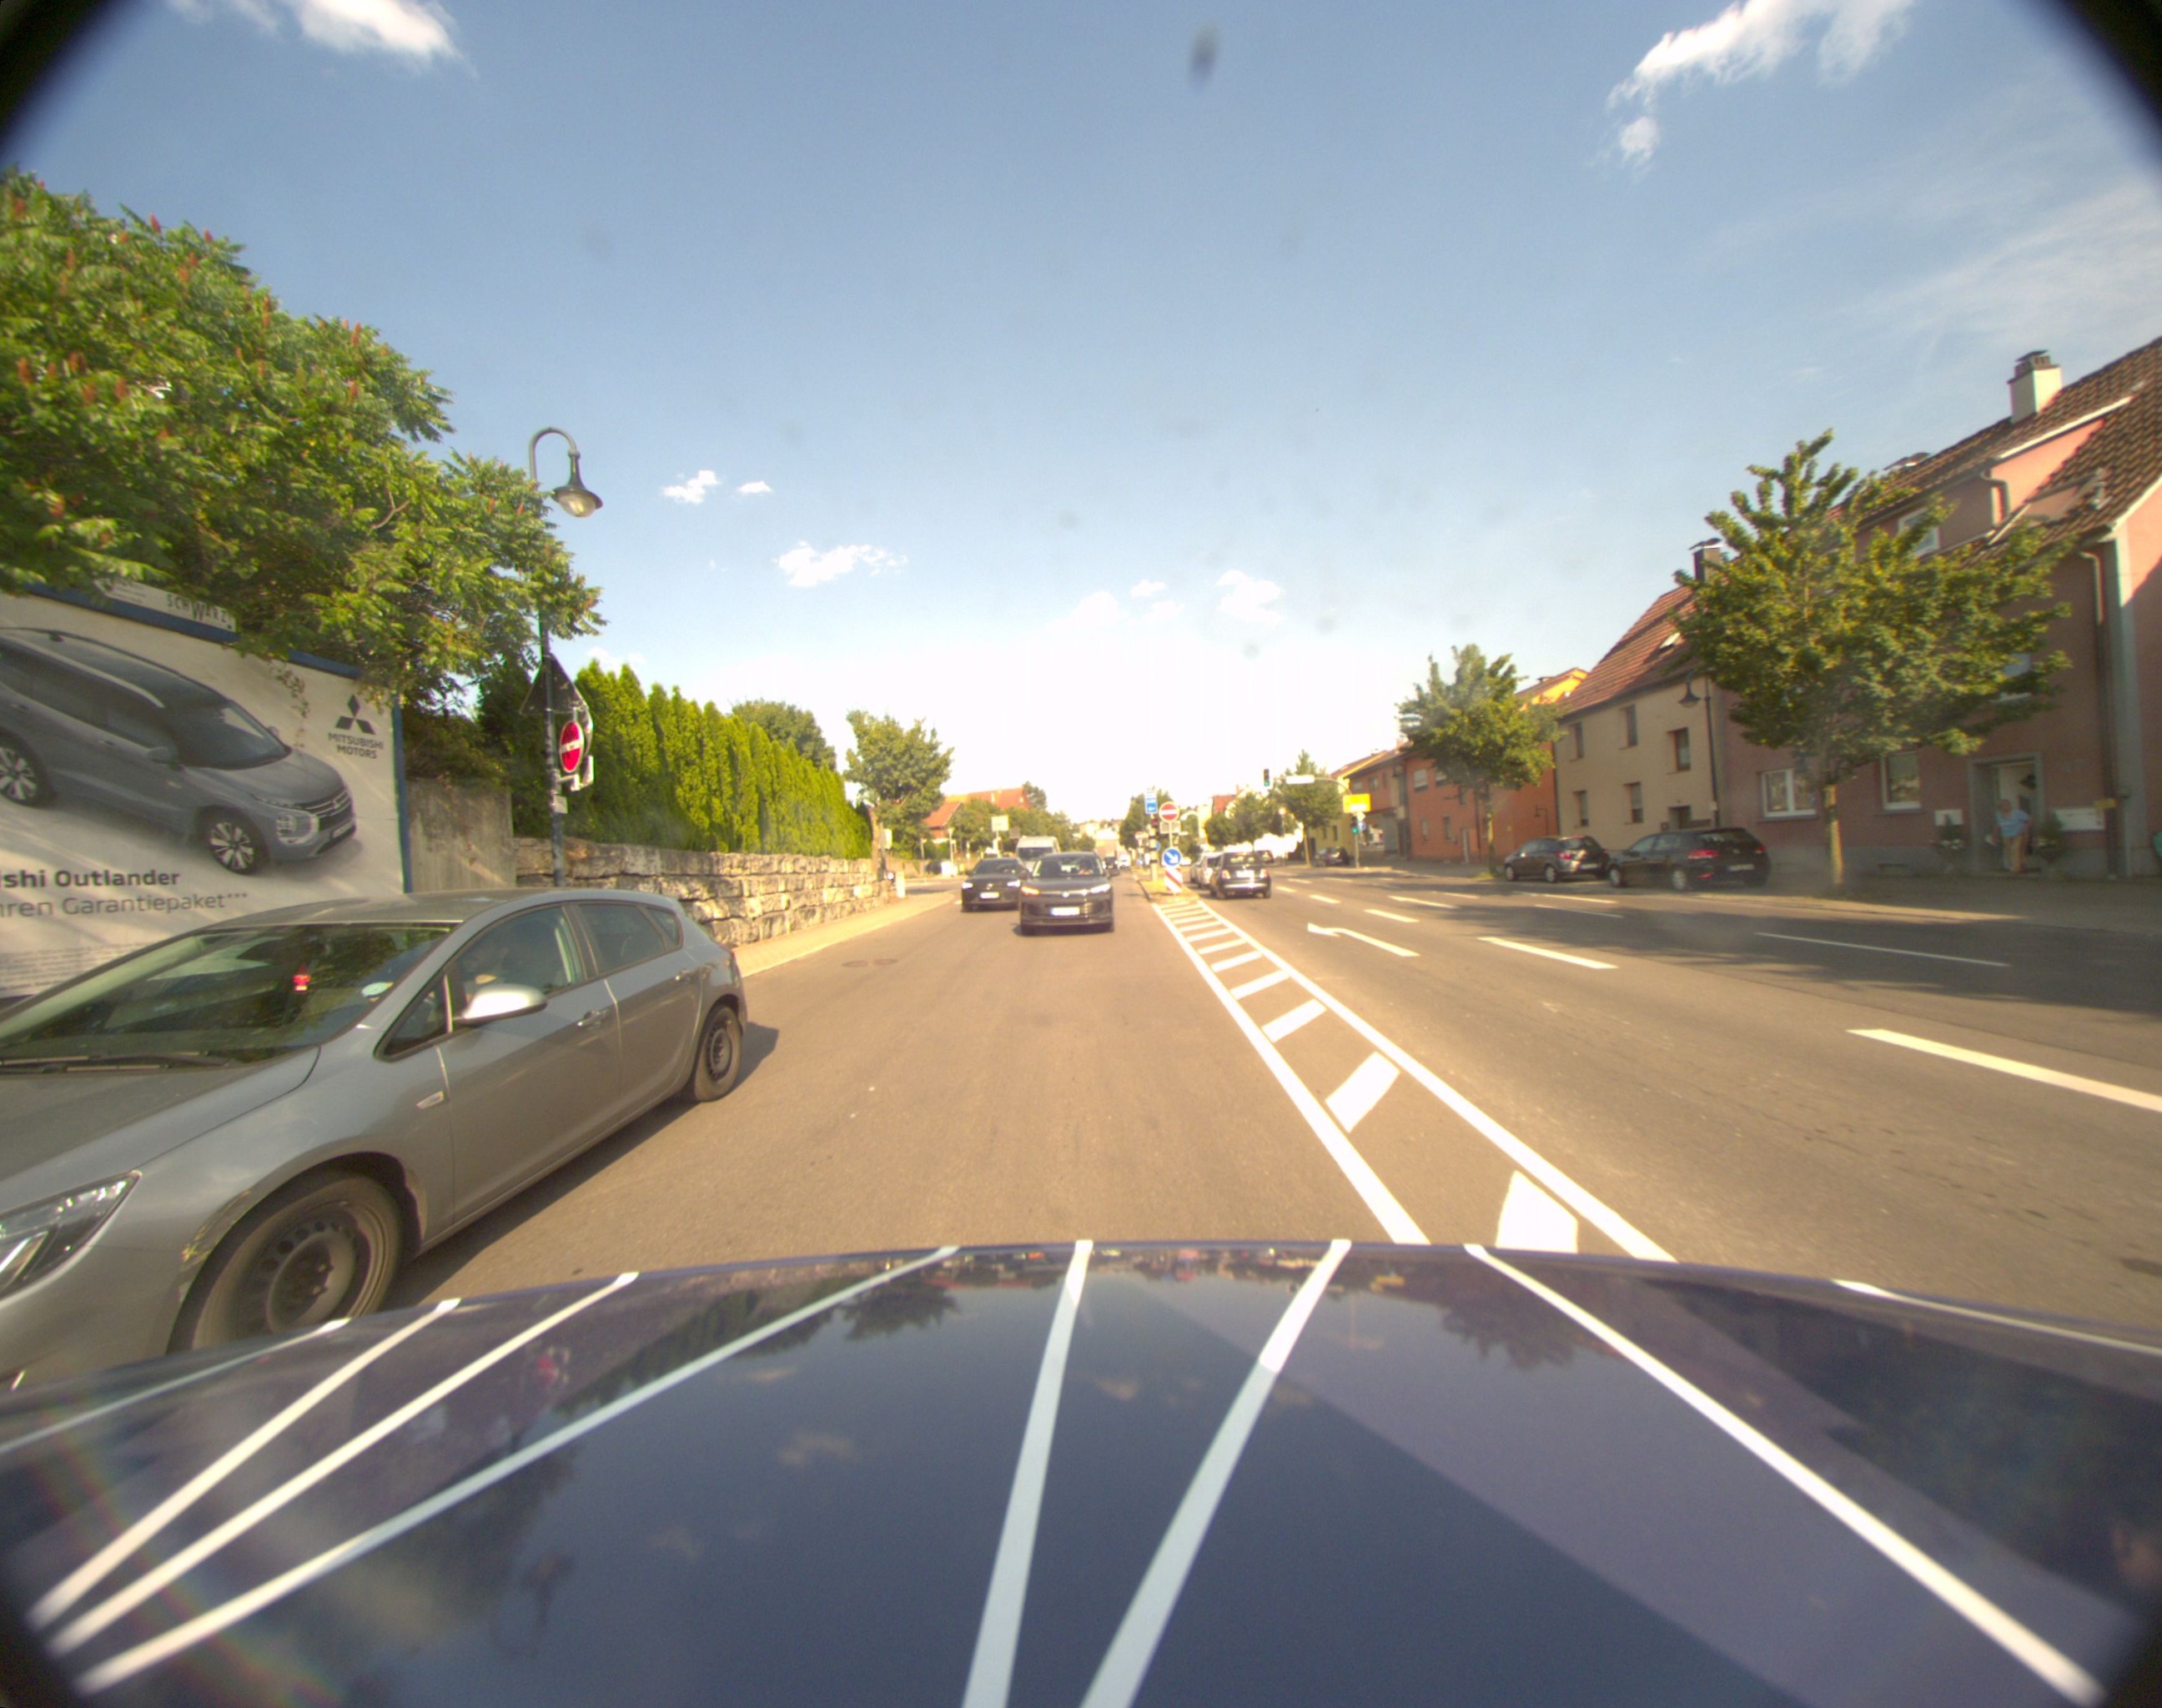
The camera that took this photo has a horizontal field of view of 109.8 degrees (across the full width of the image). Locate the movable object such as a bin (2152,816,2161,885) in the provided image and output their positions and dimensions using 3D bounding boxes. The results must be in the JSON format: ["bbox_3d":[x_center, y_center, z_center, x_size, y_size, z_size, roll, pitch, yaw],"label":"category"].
[{"bbox_3d":[18.076,-0.066,12.337,0.552,1.136,0.530,-3,0,6],"label":"movable object such as a bin"}]

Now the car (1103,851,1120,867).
[{"bbox_3d":[3.757,0.585,91.989,1.816,1.860,4.002,-3,0,5],"label":"car"}]

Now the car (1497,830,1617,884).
[{"bbox_3d":[15.380,0.096,24.809,1.515,1.501,3.886,-5,0,2],"label":"car"}]

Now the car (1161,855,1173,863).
[{"bbox_3d":[15.526,0.928,137.634,1.761,1.403,4.001,-3,0,3],"label":"car"}]

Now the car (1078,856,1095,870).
[{"bbox_3d":[0.616,0.921,79.850,1.515,1.353,2.956,-3,0,3],"label":"car"}]

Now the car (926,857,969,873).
[{"bbox_3d":[-14.238,1.138,80.976,4.072,1.447,1.681,-3,0,16],"label":"car"}]

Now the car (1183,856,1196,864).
[{"bbox_3d":[19.210,1.052,134.835,1.761,1.403,4.001,-3,0,3],"label":"car"}]

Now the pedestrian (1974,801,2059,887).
[{"bbox_3d":[18.147,-0.185,14.749,0.723,1.598,0.777,-3,1,-13],"label":"pedestrian"}]

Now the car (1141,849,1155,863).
[{"bbox_3d":[12.624,0.378,144.207,2.090,2.461,5.479,-3,0,1],"label":"car"}]

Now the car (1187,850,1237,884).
[{"bbox_3d":[6.289,0.620,36.959,1.839,1.479,4.567,-3,0,3],"label":"car"}]

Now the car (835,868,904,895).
[{"bbox_3d":[-14.694,1.880,53.033,4.250,1.616,1.862,-3,0,-3],"label":"car"}]

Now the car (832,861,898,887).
[{"bbox_3d":[-13.852,1.272,48.839,3.797,1.533,1.598,-1,0,-2],"label":"car"}]

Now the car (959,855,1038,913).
[{"bbox_3d":[-2.515,0.878,24.052,1.792,1.596,4.057,-3,0,3],"label":"car"}]

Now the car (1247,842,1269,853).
[{"bbox_3d":[28.854,-1.058,123.797,3.417,1.616,1.857,0,0,-39],"label":"car"}]

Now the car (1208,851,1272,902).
[{"bbox_3d":[5.064,0.680,24.576,1.535,1.453,3.507,-3,0,4],"label":"car"}]

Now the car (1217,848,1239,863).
[{"bbox_3d":[16.234,0.158,83.928,1.689,1.602,4.414,-3,0,3],"label":"car"}]

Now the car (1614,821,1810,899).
[{"bbox_3d":[14.930,0.129,18.288,1.669,1.523,3.904,-5,0,7],"label":"car"}]

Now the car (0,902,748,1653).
[{"bbox_3d":[-3.174,1.047,3.261,1.652,1.414,4.143,-1,0,0],"label":"car"}]

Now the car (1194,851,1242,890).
[{"bbox_3d":[5.537,0.635,31.050,1.592,1.419,3.579,-3,0,6],"label":"car"}]

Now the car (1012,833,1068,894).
[{"bbox_3d":[-1.908,0.398,37.265,2.040,2.642,6.650,-3,0,2],"label":"car"}]

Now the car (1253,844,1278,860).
[{"bbox_3d":[19.268,-0.207,79.407,1.859,1.586,4.462,-3,0,5],"label":"car"}]

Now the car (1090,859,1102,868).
[{"bbox_3d":[2.412,1.473,120.331,1.529,1.353,2.794,-3,0,7],"label":"car"}]

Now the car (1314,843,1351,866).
[{"bbox_3d":[17.828,0.033,53.950,1.595,1.430,3.777,-7,-1,7],"label":"car"}]

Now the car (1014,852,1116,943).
[{"bbox_3d":[-0.208,0.820,16.076,1.767,1.582,4.057,-3,0,3],"label":"car"}]
